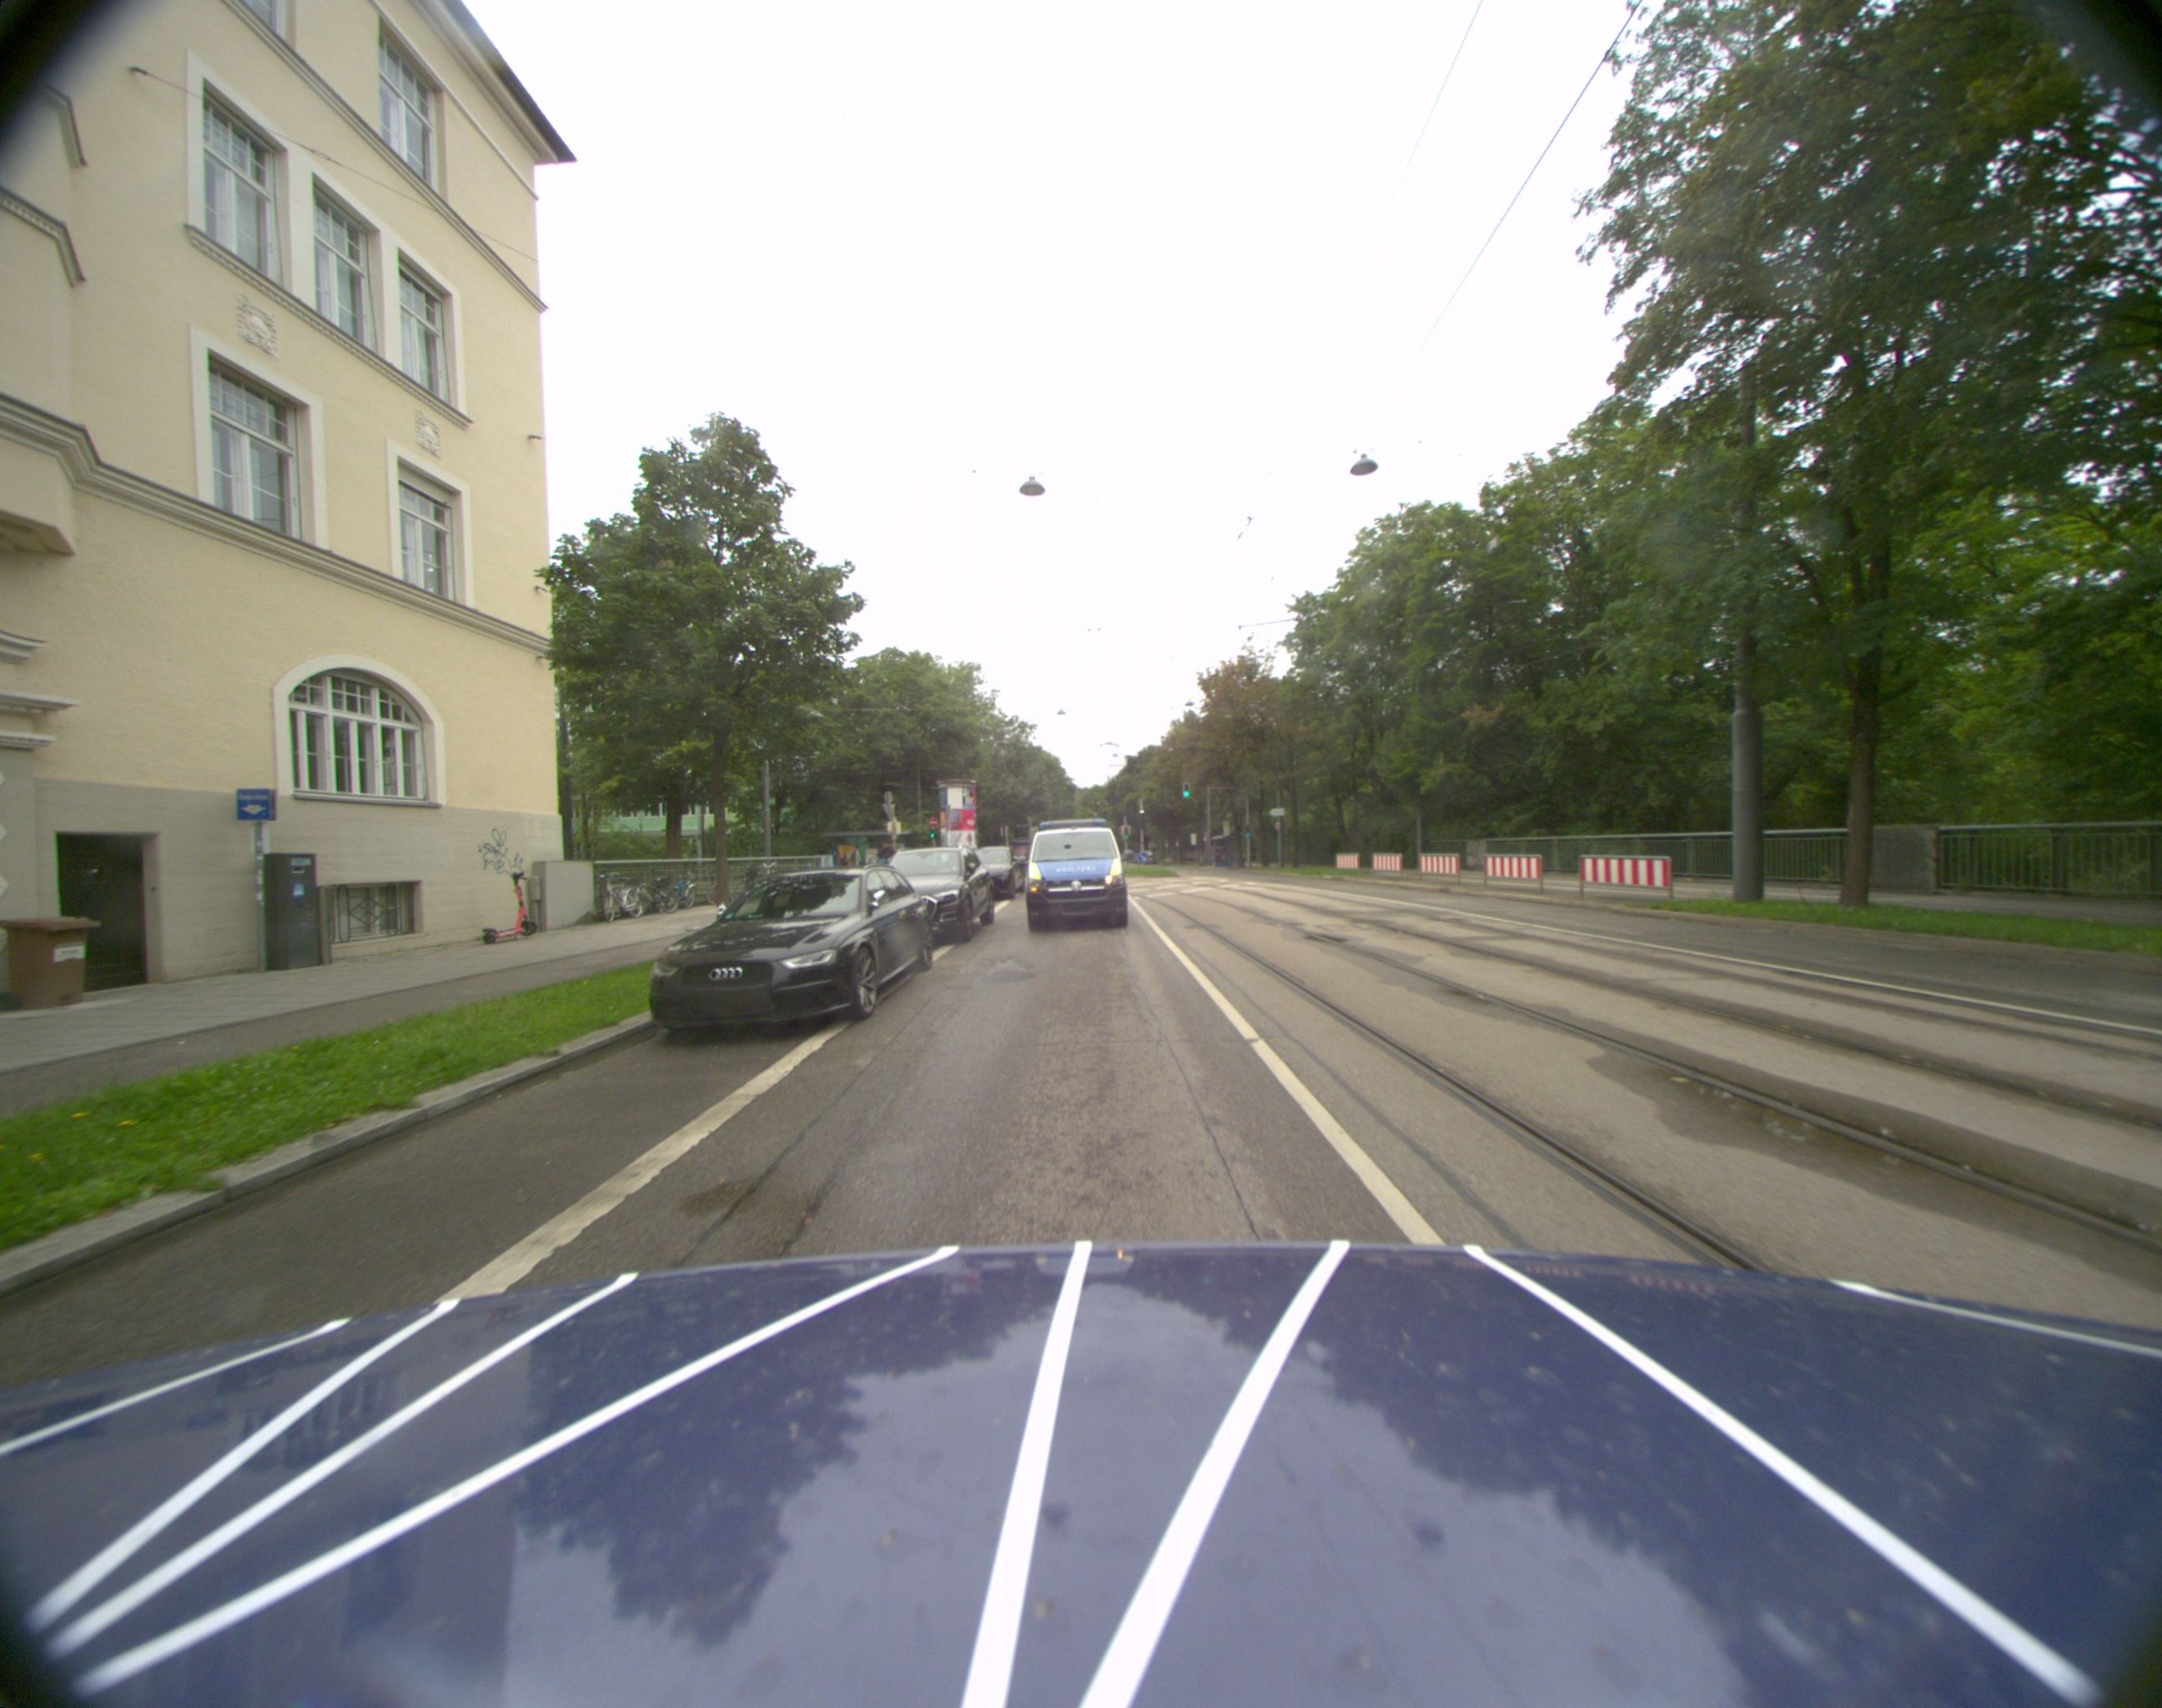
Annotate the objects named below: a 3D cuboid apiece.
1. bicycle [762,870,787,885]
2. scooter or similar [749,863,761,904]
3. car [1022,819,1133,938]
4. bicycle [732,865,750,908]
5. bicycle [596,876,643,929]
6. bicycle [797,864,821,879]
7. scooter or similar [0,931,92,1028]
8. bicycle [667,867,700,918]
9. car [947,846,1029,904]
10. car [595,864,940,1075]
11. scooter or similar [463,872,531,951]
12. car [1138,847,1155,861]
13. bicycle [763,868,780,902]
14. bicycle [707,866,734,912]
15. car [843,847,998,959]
[{"bbox_3d":[-20.979,1.597,51.987,1.483,0.946,0.373,-2,2,3],"label":"bicycle"},{"bbox_3d":[-10.475,0.920,24.427,0.245,1.255,1.493,-4,1,-22],"label":"scooter or similar"},{"bbox_3d":[-0.106,0.394,16.211,1.903,2.041,5.707,-1,1,-1],"label":"car"},{"bbox_3d":[-10.473,0.979,23.436,0.283,1.274,1.408,-4,1,-19],"label":"bicycle"},{"bbox_3d":[-10.656,1.102,17.579,0.287,1.099,1.442,-2,1,-7],"label":"bicycle"},{"bbox_3d":[-18.516,1.175,51.718,1.483,0.946,0.373,-2,2,3],"label":"bicycle"},{"bbox_3d":[-10.687,1.286,7.854,0.348,0.905,0.421,-4,2,-20],"label":"scooter or similar"},{"bbox_3d":[-10.541,0.994,20.183,0.282,1.274,1.409,-4,1,-11],"label":"bicycle"},{"bbox_3d":[-2.871,0.613,24.544,1.905,1.600,4.665,-3,0,1],"label":"car"},{"bbox_3d":[-2.855,0.929,8.199,1.720,1.418,4.601,-3,1,0],"label":"car"},{"bbox_3d":[-10.501,1.002,13.693,0.262,1.305,1.142,-3,1,-1],"label":"scooter or similar"},{"bbox_3d":[9.210,-0.004,107.425,1.888,1.716,3.999,-3,1,-1],"label":"car"},{"bbox_3d":[-10.628,1.041,26.131,0.265,1.076,1.540,-4,1,-14],"label":"bicycle"},{"bbox_3d":[-10.550,1.006,22.237,0.282,1.274,1.409,-4,1,-11],"label":"bicycle"},{"bbox_3d":[-2.787,0.761,14.280,1.779,1.648,4.487,-3,1,1],"label":"car"}]
